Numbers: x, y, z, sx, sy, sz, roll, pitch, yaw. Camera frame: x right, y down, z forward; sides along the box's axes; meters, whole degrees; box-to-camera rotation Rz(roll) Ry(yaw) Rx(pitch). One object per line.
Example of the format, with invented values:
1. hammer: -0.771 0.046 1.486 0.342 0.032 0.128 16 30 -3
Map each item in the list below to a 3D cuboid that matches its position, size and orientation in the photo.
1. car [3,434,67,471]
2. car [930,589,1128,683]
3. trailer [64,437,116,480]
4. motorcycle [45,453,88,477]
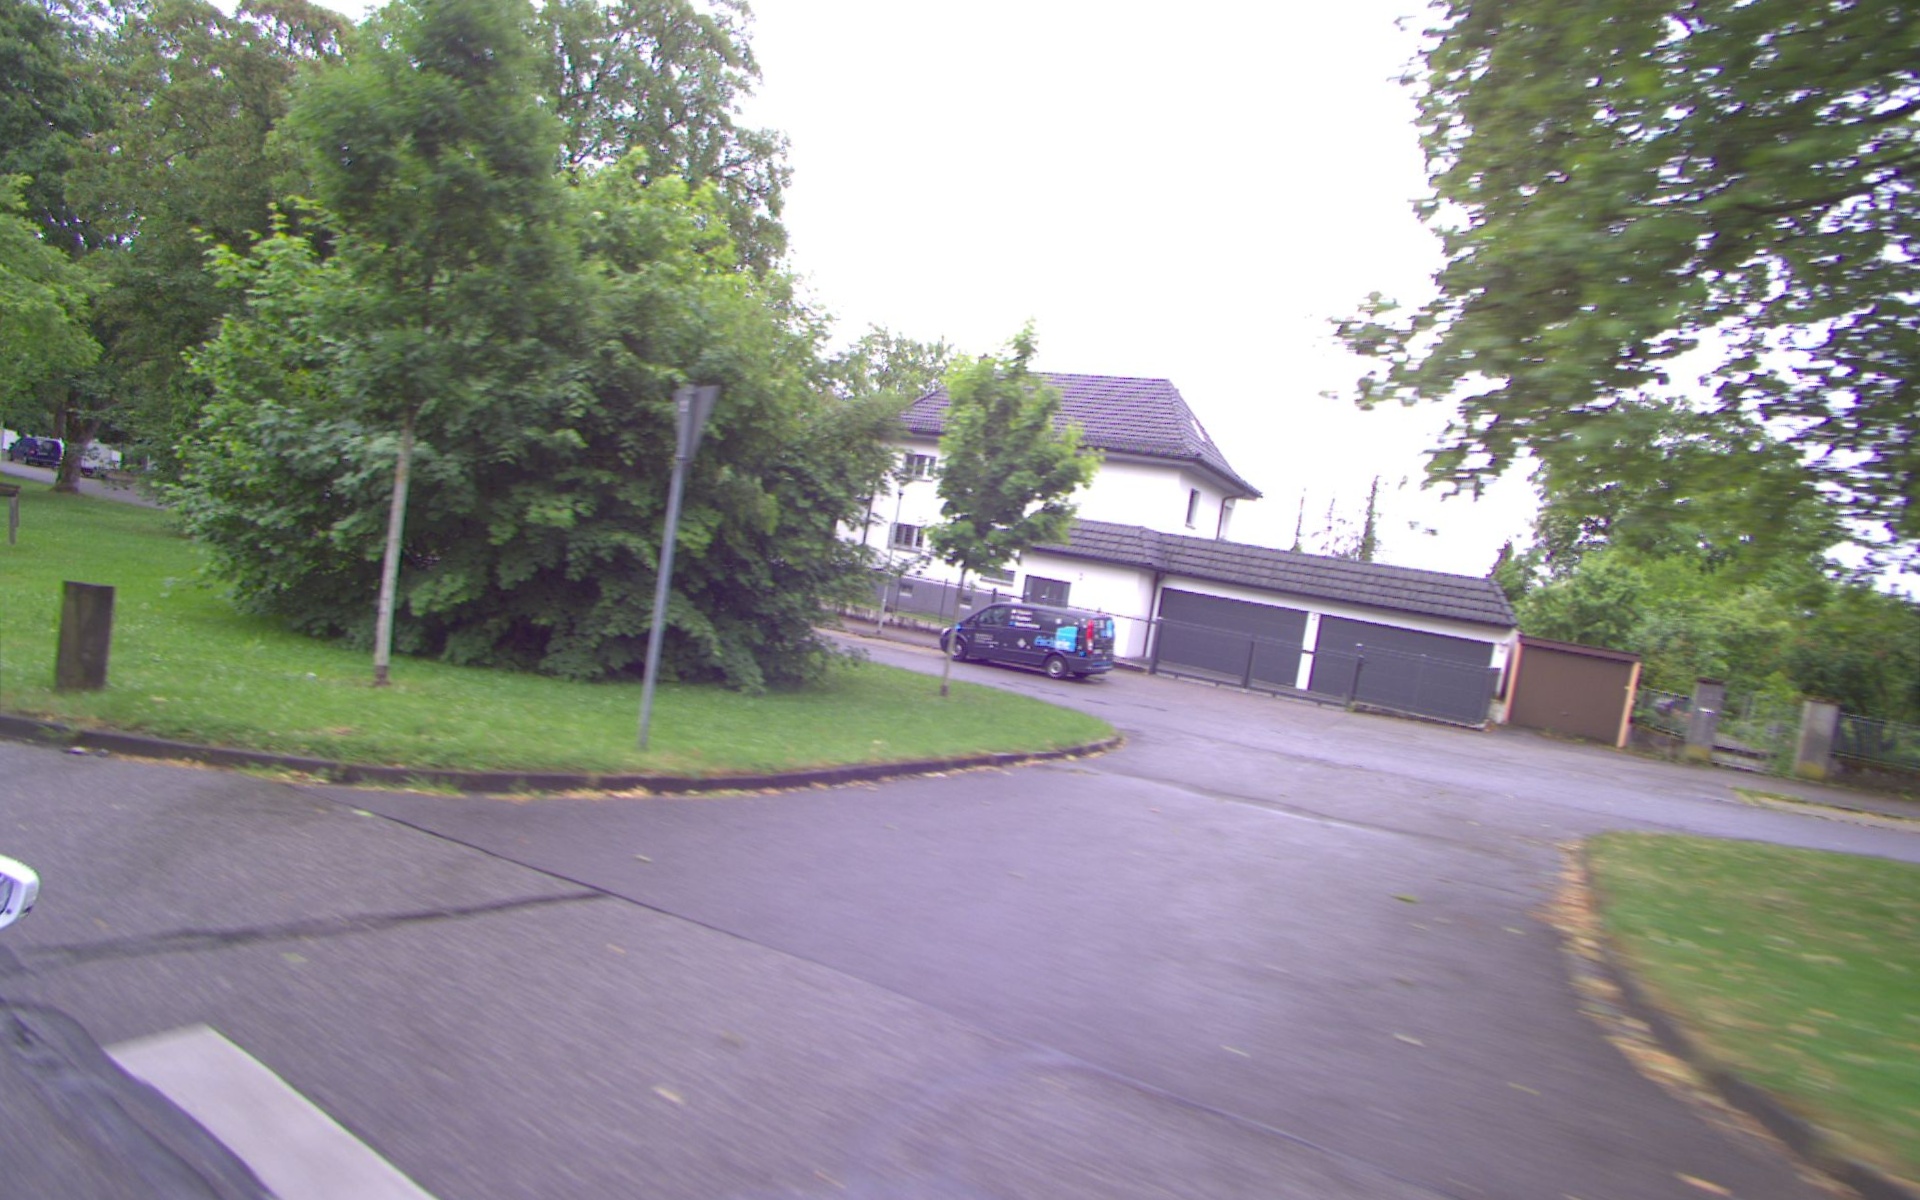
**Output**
1. car: -61.203 -9.773 66.551 4.571 1.834 1.941 10 4 32
2. car: 1.904 0.969 28.315 4.985 1.903 2.161 8 2 31
3. trailer: -53.227 -8.633 61.526 2.900 2.184 1.436 10 5 29
4. motorcycle: -55.578 -8.377 62.583 1.875 1.107 0.651 7 4 -36
